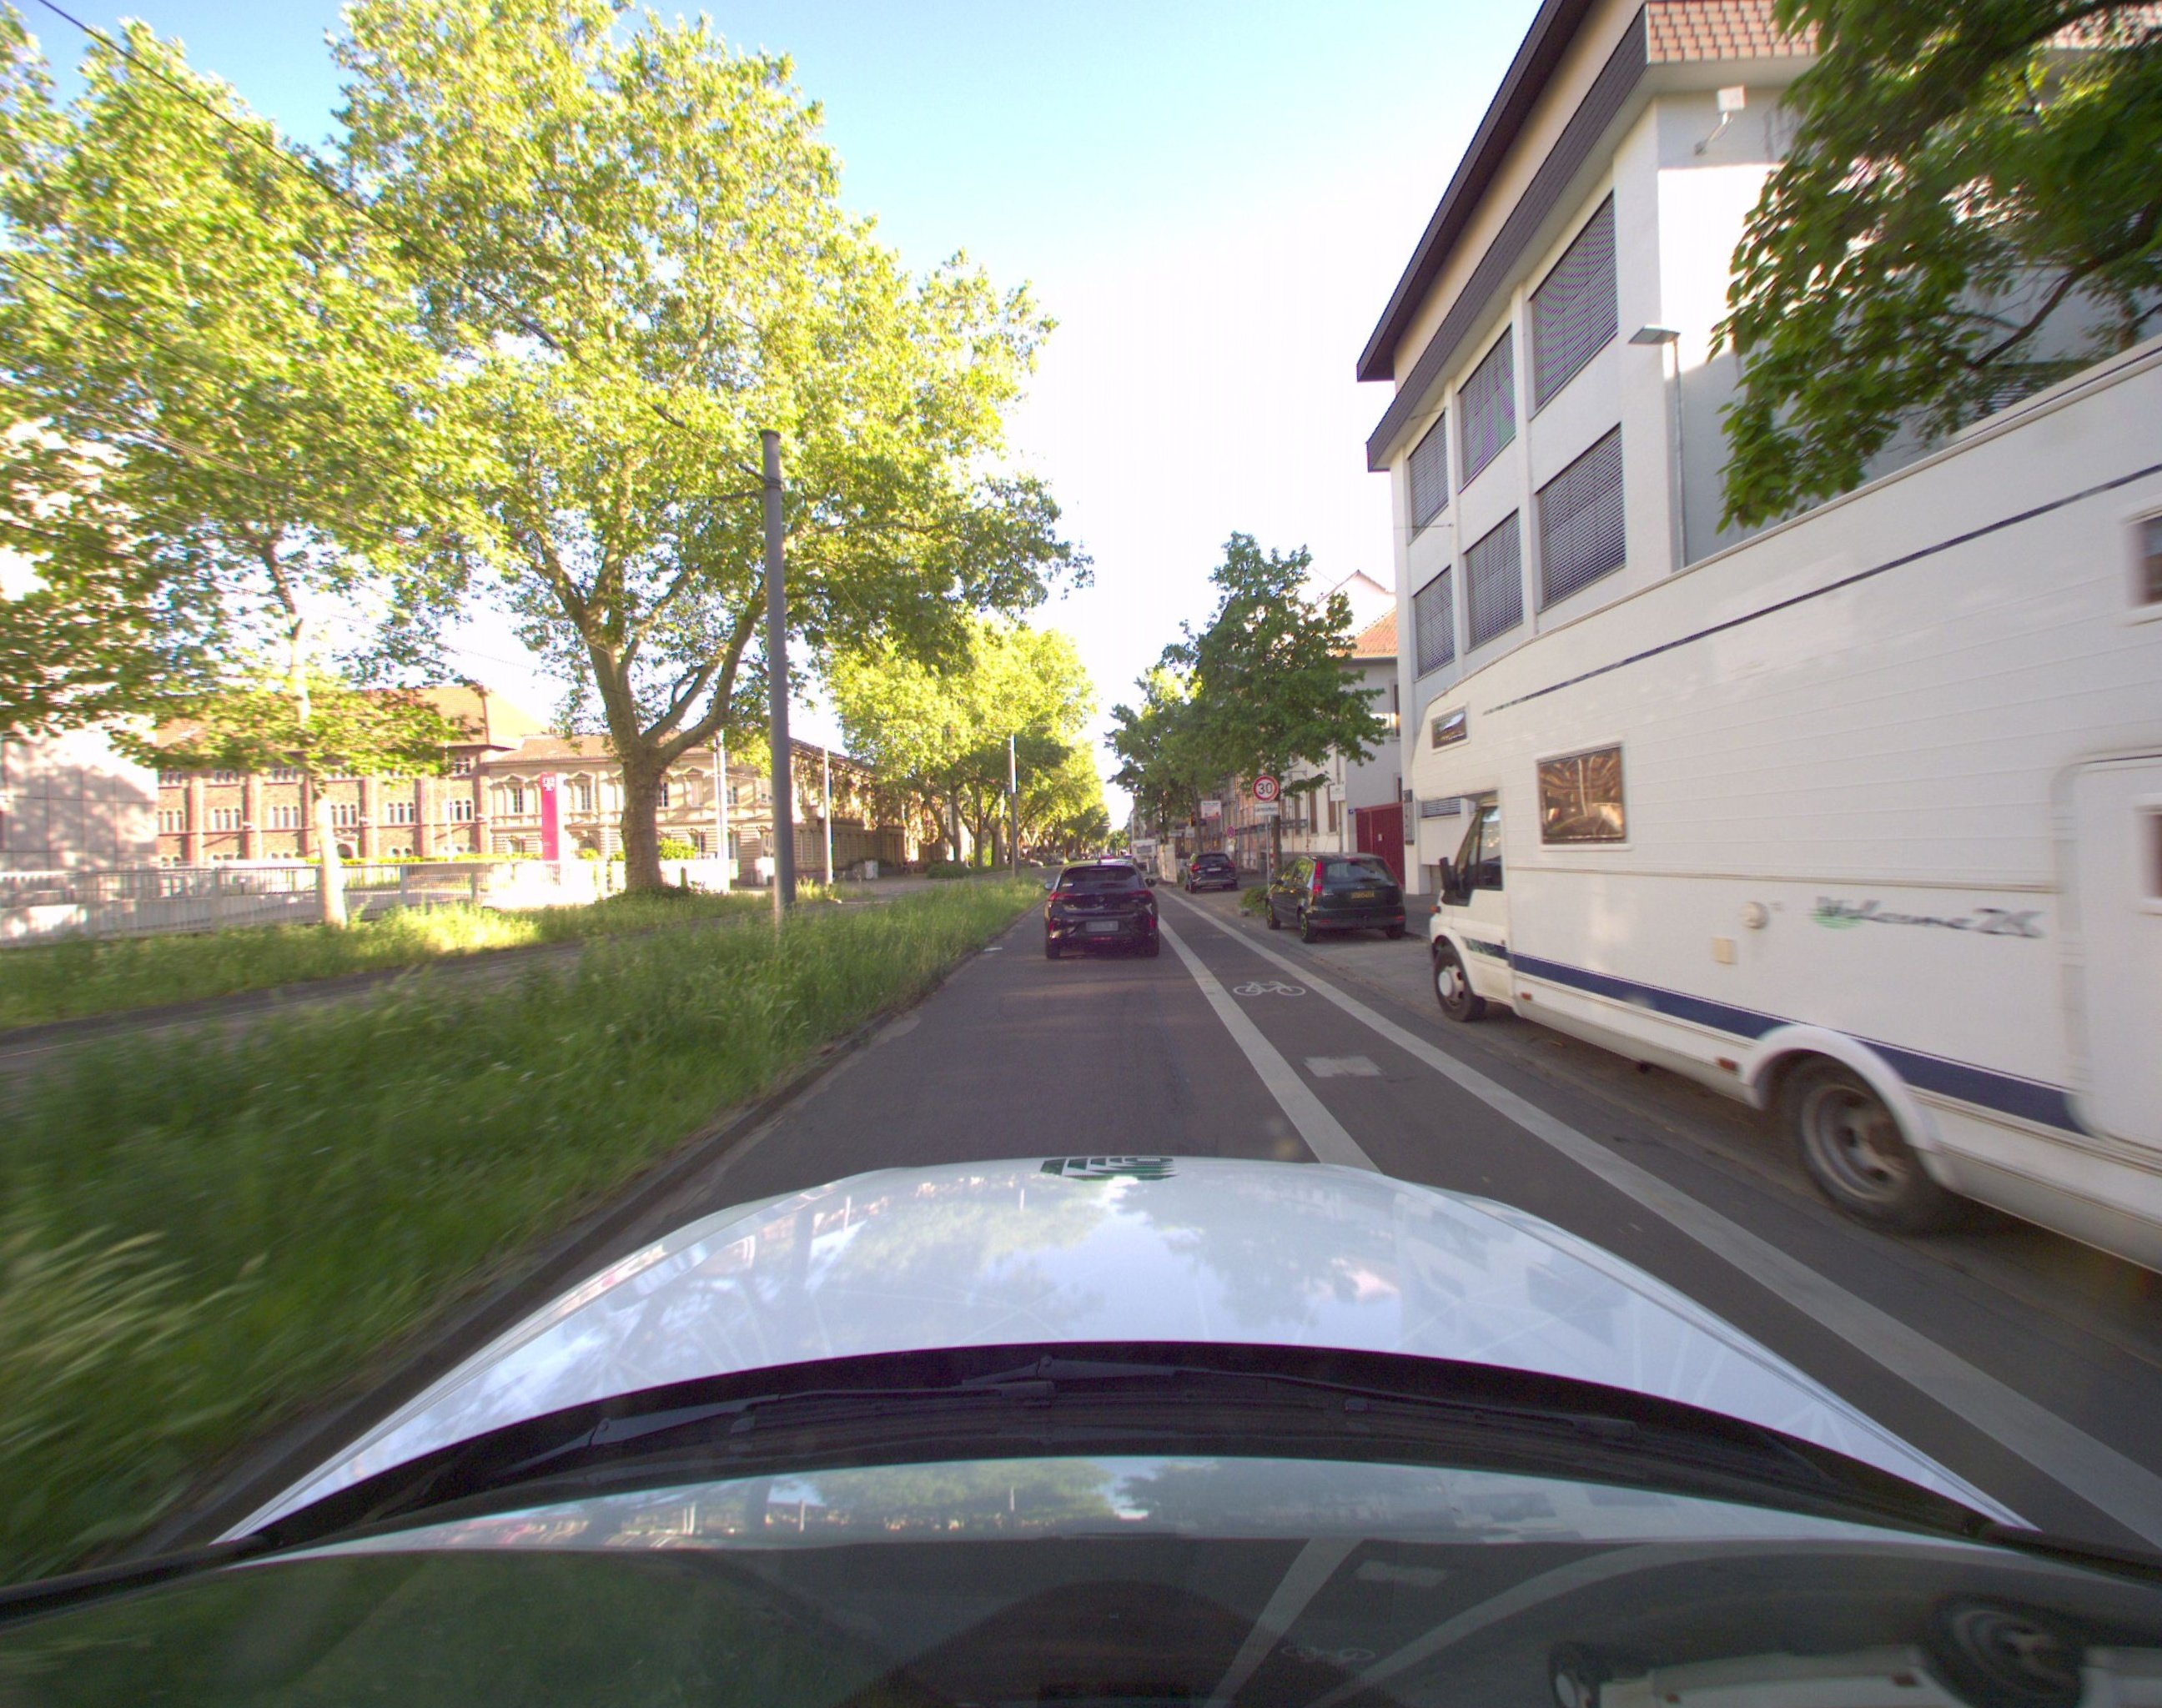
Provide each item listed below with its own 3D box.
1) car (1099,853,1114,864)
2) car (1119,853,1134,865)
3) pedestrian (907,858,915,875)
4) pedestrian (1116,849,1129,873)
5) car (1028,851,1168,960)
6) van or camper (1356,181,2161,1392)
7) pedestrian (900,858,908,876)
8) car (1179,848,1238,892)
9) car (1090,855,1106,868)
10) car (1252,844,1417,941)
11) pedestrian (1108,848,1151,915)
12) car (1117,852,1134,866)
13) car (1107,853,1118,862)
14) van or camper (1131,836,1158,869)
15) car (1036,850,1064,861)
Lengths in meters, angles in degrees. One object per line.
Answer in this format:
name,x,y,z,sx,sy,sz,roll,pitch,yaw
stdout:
car,3.691,0.669,116.324,1.897,1.425,4.219,-2,0,3
car,6.277,0.656,111.914,1.897,1.425,4.219,-2,0,3
pedestrian,-16.518,1.227,79.074,0.656,1.622,0.616,0,0,1
pedestrian,3.534,0.592,69.098,1.032,2.024,1.213,-2,0,1
car,0.369,0.718,13.461,1.897,1.425,4.219,-2,0,3
van or camper,4.046,-0.212,4.629,2.367,3.125,7.553,-5,0,2
pedestrian,-17.177,1.258,79.036,0.616,1.733,0.596,0,0,1
car,4.906,0.571,31.705,1.783,1.510,3.877,-4,0,3
car,2.200,0.938,101.965,1.783,1.510,3.877,-4,0,3
car,4.364,0.590,14.686,1.680,1.420,4.048,-3,0,0
pedestrian,1.185,0.664,19.992,0.966,1.562,0.972,-2,0,1
car,5.085,0.590,92.545,1.897,1.425,4.219,-2,0,3
car,5.452,0.533,140.689,1.897,1.425,4.219,-2,0,3
van or camper,6.038,-0.126,78.014,2.476,2.993,5.439,0,0,3
car,-6.597,0.375,174.489,5.665,2.197,2.290,-2,0,2
